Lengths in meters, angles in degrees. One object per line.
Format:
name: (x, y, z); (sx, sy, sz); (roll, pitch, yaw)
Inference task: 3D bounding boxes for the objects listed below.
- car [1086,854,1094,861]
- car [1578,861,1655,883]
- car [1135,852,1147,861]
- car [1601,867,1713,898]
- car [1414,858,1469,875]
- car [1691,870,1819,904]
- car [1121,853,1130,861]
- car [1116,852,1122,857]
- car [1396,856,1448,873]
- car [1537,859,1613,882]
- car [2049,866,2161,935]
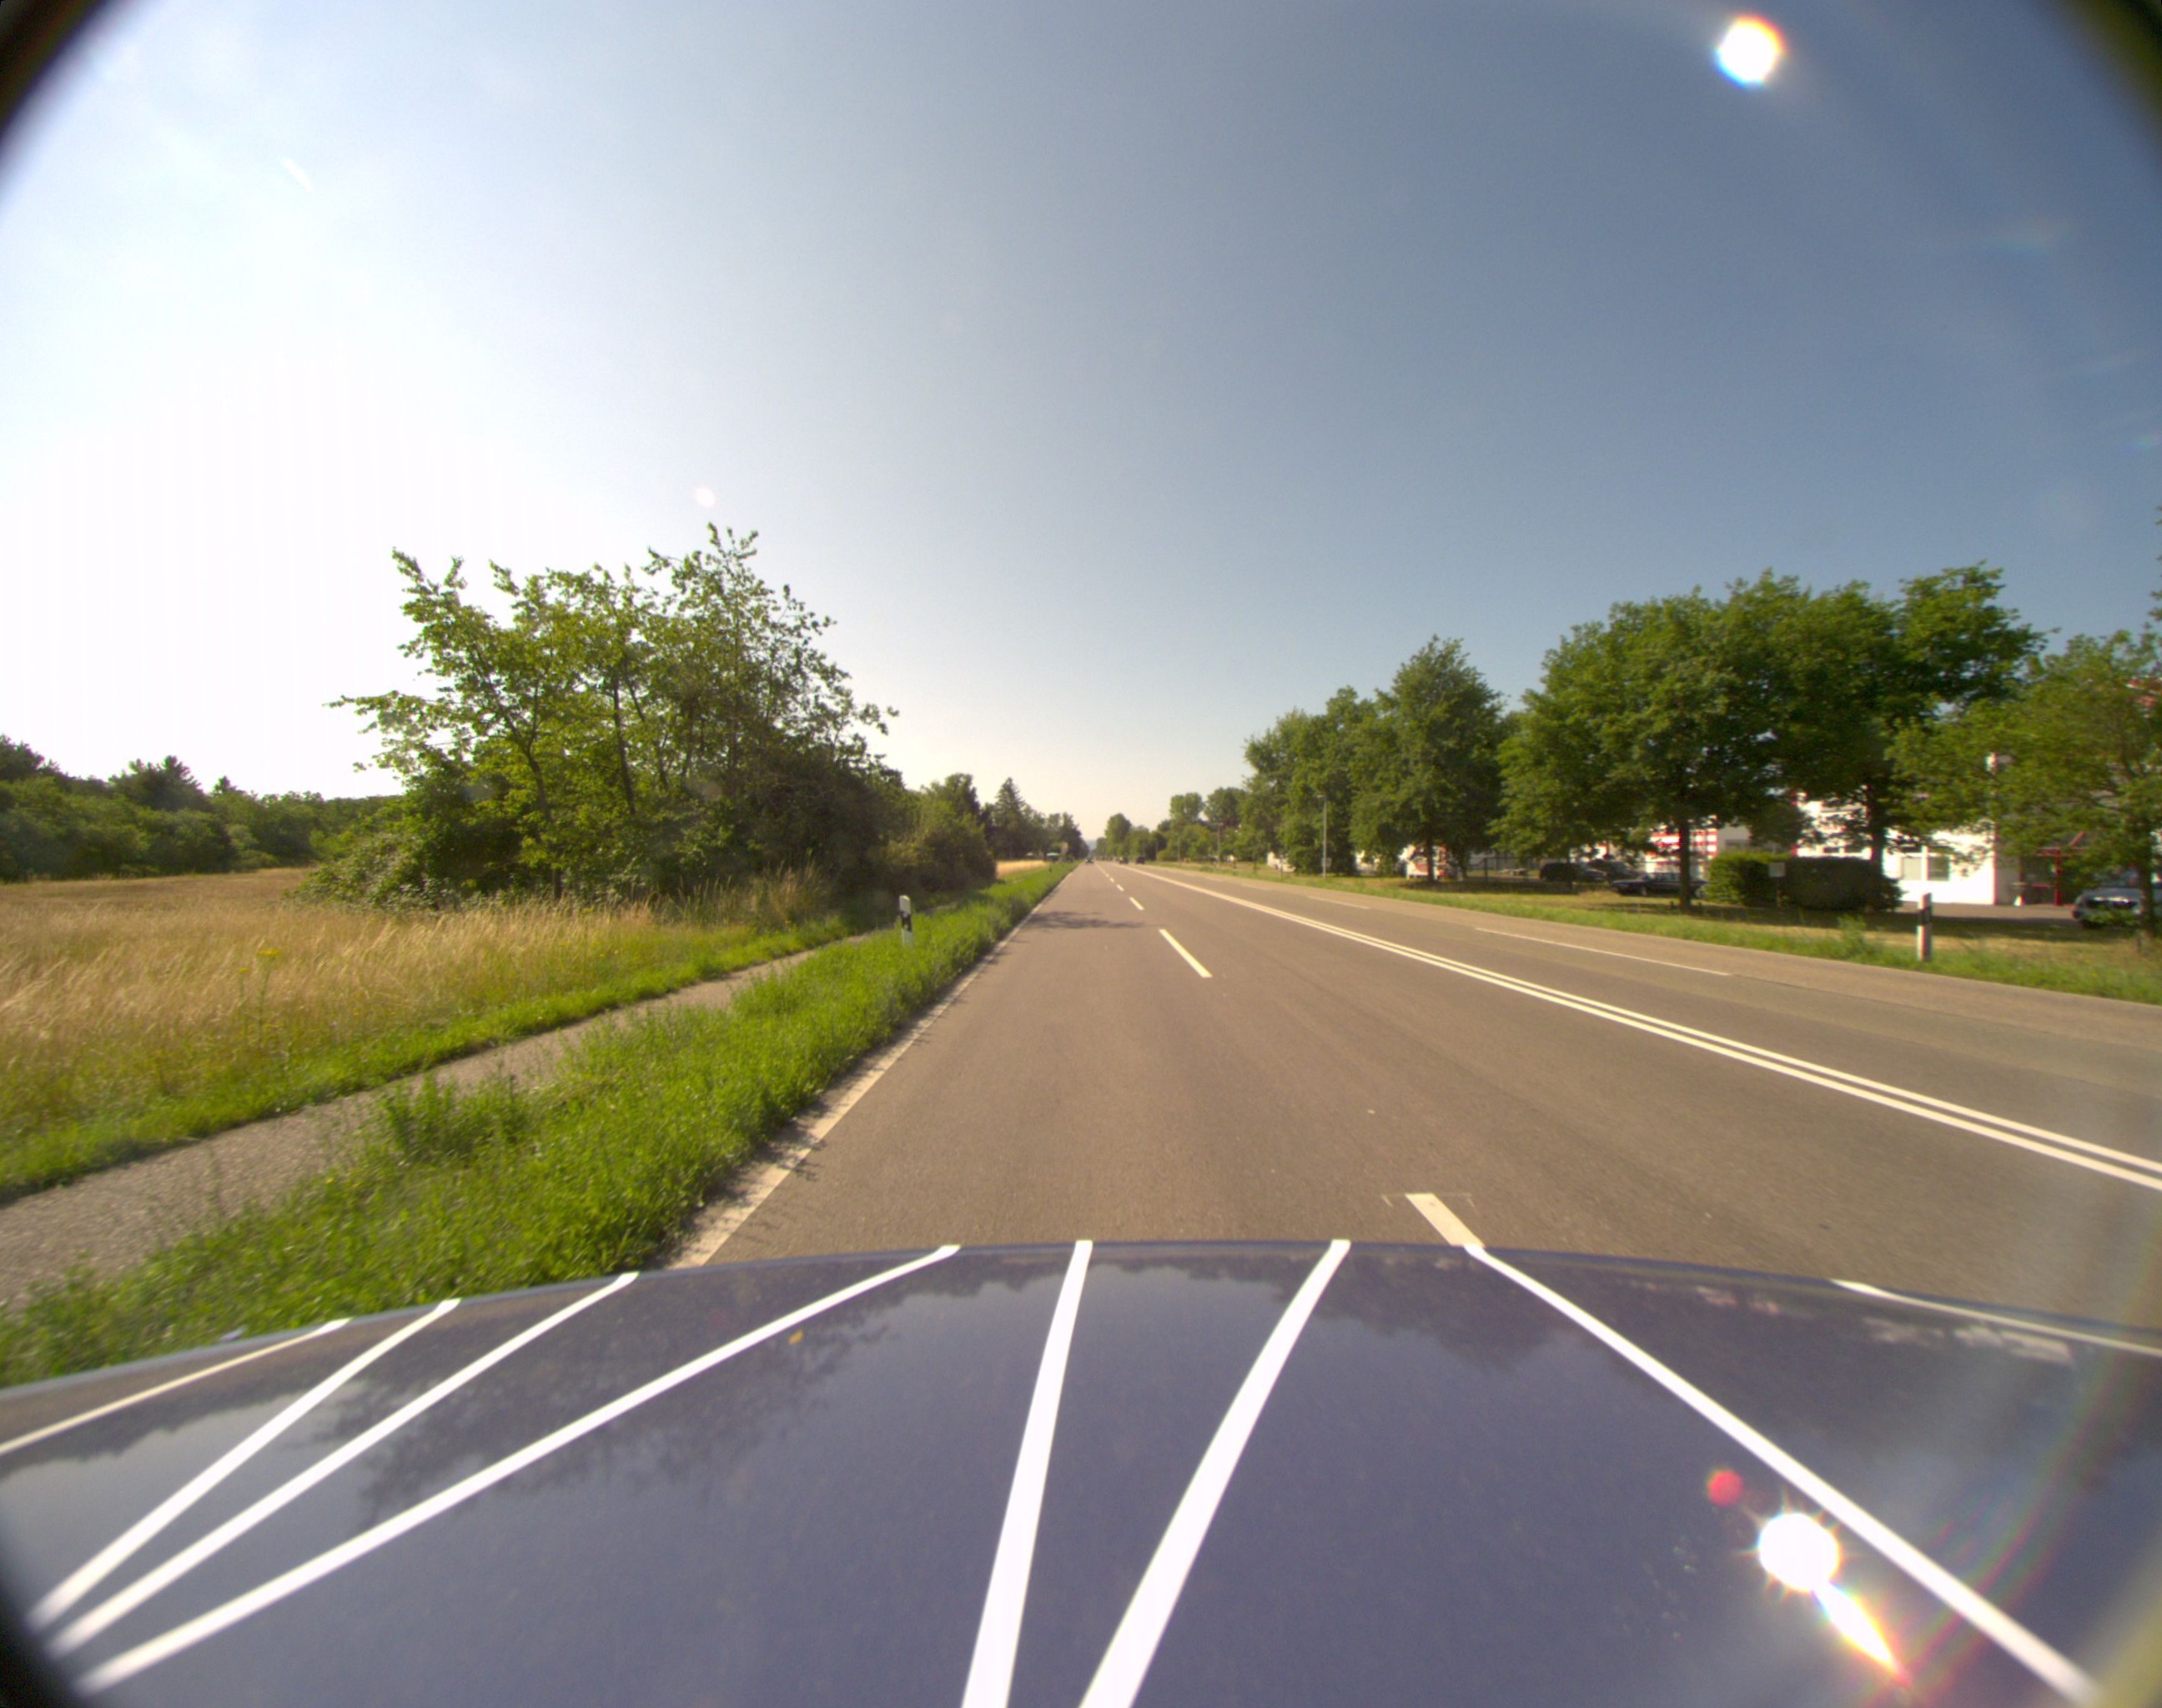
car: (1.941, 0.736, 164.145); (1.768, 1.403, 4.001); (0, -1, 1)
car: (36.123, 1.193, 51.393); (1.792, 1.341, 4.662); (1, 0, -2)
car: (11.644, 0.441, 147.839); (1.830, 1.662, 4.389); (2, 0, 0)
car: (30.115, 1.481, 39.813); (4.361, 1.318, 1.857); (3, 1, 0)
car: (31.302, 1.064, 66.052); (3.997, 1.492, 1.757); (0, 0, 0)
car: (29.857, 1.453, 33.752); (3.996, 1.298, 1.863); (2, 0, 1)
car: (8.496, 0.491, 144.762); (1.520, 1.442, 3.775); (2, 0, 0)
car: (12.909, 0.178, 258.344); (1.663, 1.429, 3.735); (2, 0, 0)
car: (31.436, 0.952, 70.143); (3.997, 1.492, 1.757); (0, 0, 0)
car: (32.174, 1.047, 49.622); (1.792, 1.341, 4.662); (1, 0, -2)
car: (29.848, 1.288, 20.726); (4.233, 1.721, 2.000); (2, 1, 0)
